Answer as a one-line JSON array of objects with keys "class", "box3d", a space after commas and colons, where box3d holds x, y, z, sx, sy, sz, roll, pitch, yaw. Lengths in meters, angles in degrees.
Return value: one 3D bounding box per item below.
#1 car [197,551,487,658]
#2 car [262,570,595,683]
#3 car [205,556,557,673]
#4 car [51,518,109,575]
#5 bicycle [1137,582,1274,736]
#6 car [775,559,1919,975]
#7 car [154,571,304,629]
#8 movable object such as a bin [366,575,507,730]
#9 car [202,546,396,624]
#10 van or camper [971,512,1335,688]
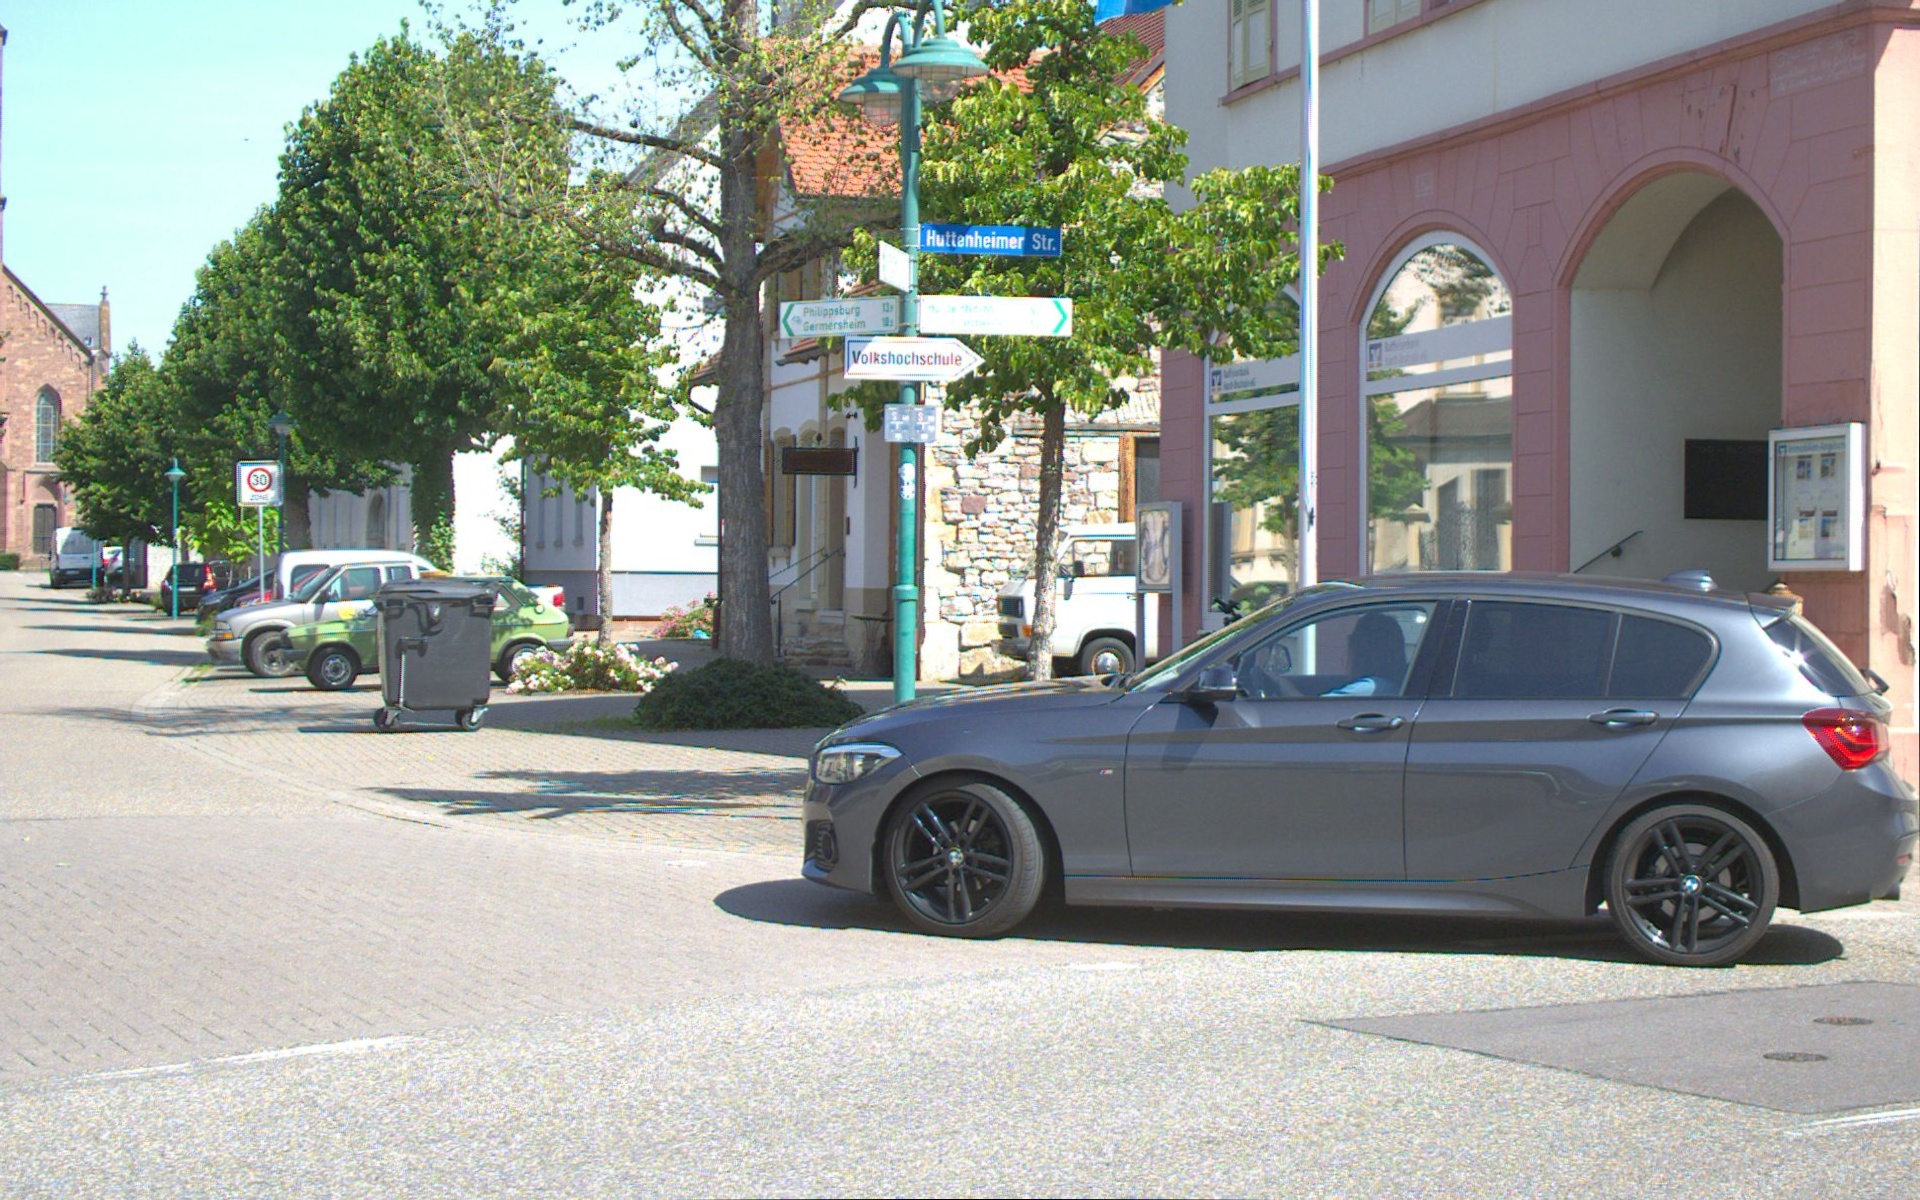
[{"class": "car", "box3d": [-9.317, 0.051, 51.709, 4.149, 1.563, 2.001, 0, 1, -15]}, {"class": "car", "box3d": [-6.666, 0.313, 42.963, 3.923, 1.340, 2.001, 0, 1, -15]}, {"class": "car", "box3d": [-8.301, 0.194, 49.178, 4.802, 1.618, 2.001, 0, 1, -15]}, {"class": "car", "box3d": [-36.907, -2.226, 144.084, 2.244, 2.271, 4.504, 2, 0, -15]}, {"class": "bicycle", "box3d": [1.881, 0.438, 26.576, 0.593, 1.132, 1.749, 0, 1, -12]}, {"class": "car", "box3d": [1.555, 0.582, 13.397, 4.256, 1.371, 1.741, 2, 1, 8]}, {"class": "car", "box3d": [-20.627, -0.004, 96.928, 3.986, 1.612, 2.001, 0, 1, -17]}, {"class": "movable object such as a bin", "box3d": [-4.593, 0.450, 30.112, 1.187, 1.333, 0.789, 0, 1, -11]}, {"class": "car", "box3d": [-14.283, -0.325, 74.231, 3.986, 1.634, 2.001, 0, 1, -15]}, {"class": "van or camper", "box3d": [2.221, -0.013, 40.334, 3.986, 2.007, 2.000, 0, 1, -6]}]
